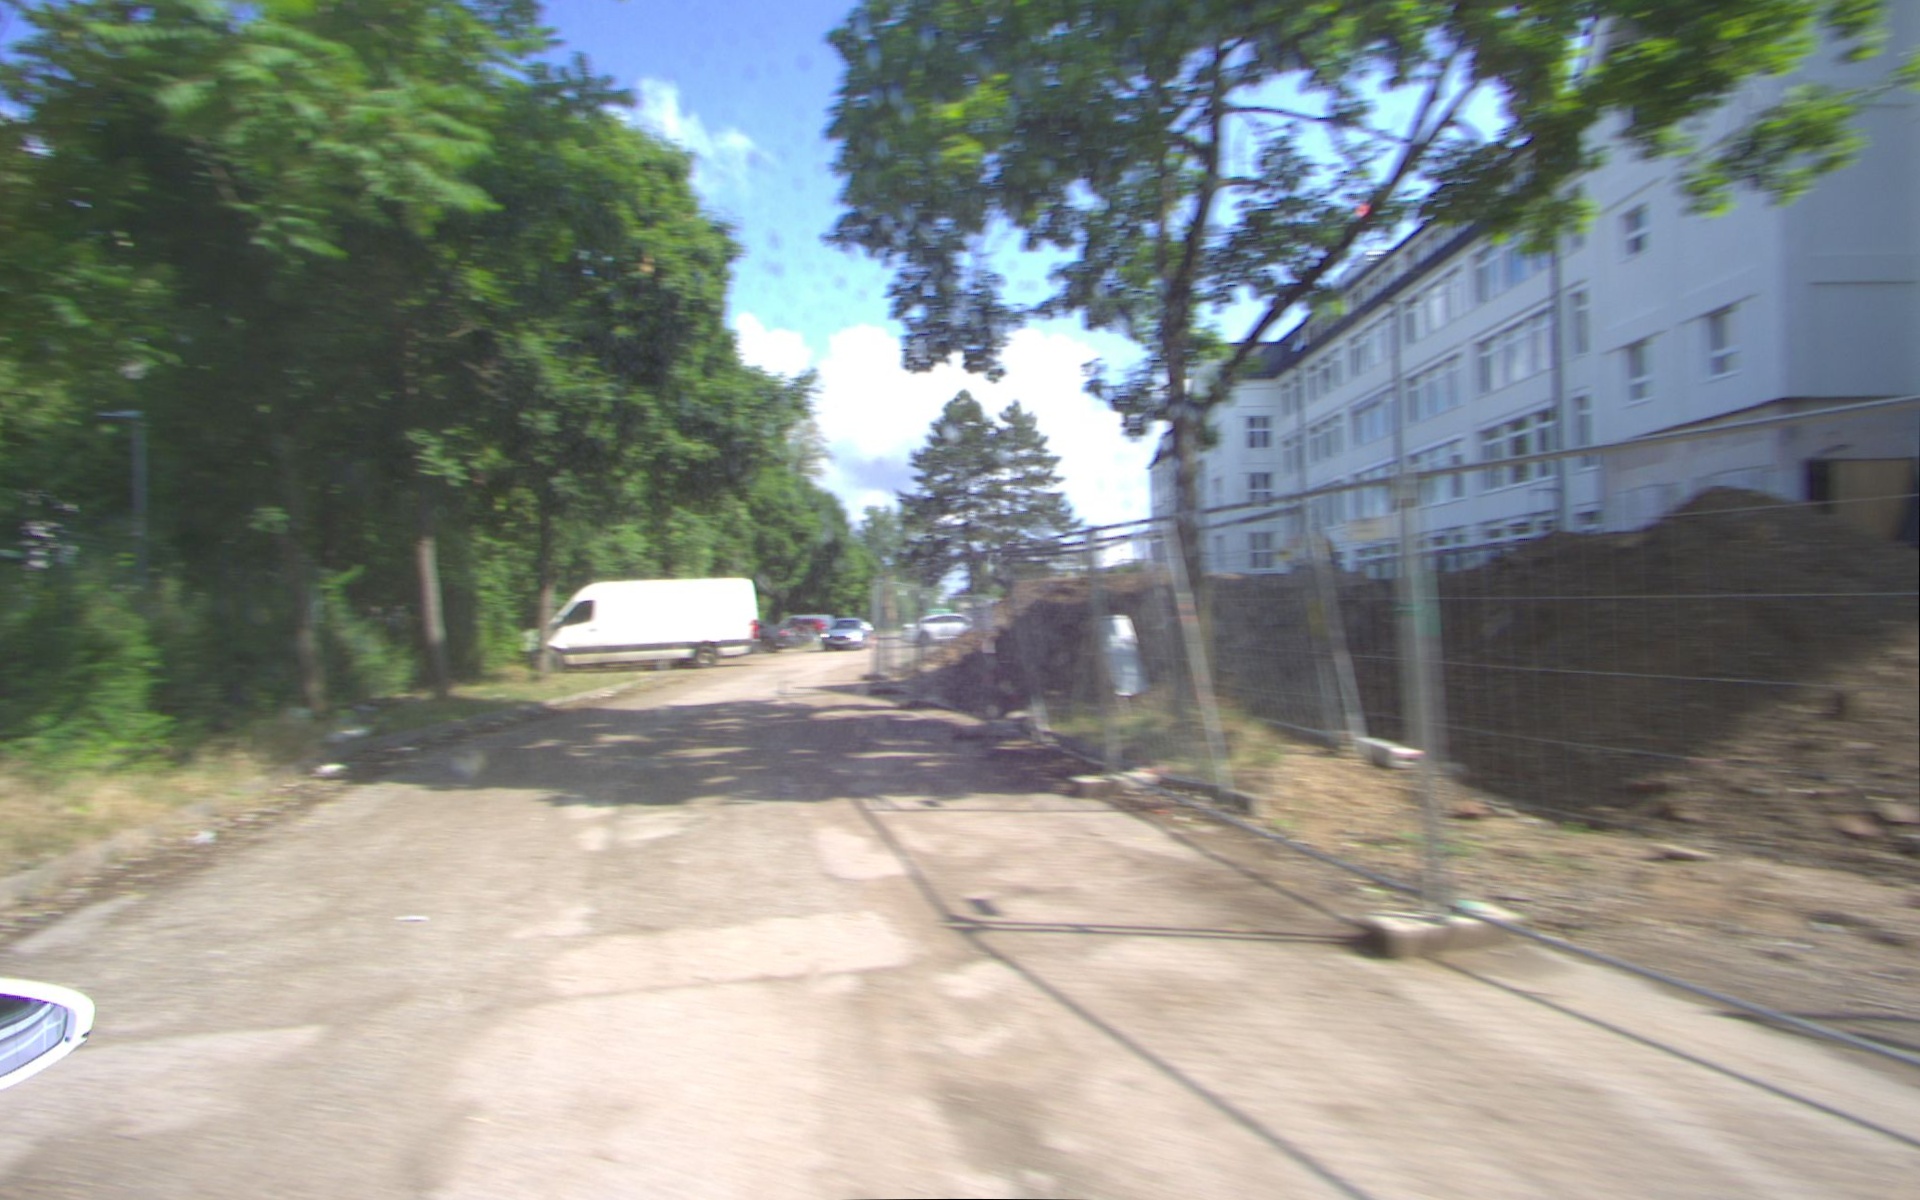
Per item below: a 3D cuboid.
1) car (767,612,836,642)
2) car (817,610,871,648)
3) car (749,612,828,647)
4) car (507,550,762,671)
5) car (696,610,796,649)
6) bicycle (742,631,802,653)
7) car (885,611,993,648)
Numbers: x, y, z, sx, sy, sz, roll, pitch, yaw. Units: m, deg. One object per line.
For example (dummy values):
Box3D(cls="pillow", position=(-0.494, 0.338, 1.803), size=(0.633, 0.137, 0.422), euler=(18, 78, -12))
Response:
Box3D(cls="car", position=(-11.803, 2.035, 74.772), size=(4.774, 2.038, 1.847), euler=(2, -4, -1))
Box3D(cls="car", position=(-5.135, 1.344, 44.808), size=(1.809, 1.445, 4.005), euler=(2, -4, 1))
Box3D(cls="car", position=(-11.163, 1.937, 65.427), size=(4.774, 2.038, 1.847), euler=(2, -4, -1))
Box3D(cls="car", position=(-9.561, 0.400, 29.866), size=(6.856, 3.085, 1.996), euler=(4, -2, -18))
Box3D(cls="car", position=(-9.154, 1.297, 43.083), size=(3.923, 1.445, 1.846), euler=(2, -4, -5))
Box3D(cls="bicycle", position=(-9.477, 2.137, 50.567), size=(2.830, 1.003, 1.019), euler=(2, -4, -3))
Box3D(cls="car", position=(-0.962, 1.375, 45.672), size=(4.774, 1.445, 1.847), euler=(2, -4, -1))
